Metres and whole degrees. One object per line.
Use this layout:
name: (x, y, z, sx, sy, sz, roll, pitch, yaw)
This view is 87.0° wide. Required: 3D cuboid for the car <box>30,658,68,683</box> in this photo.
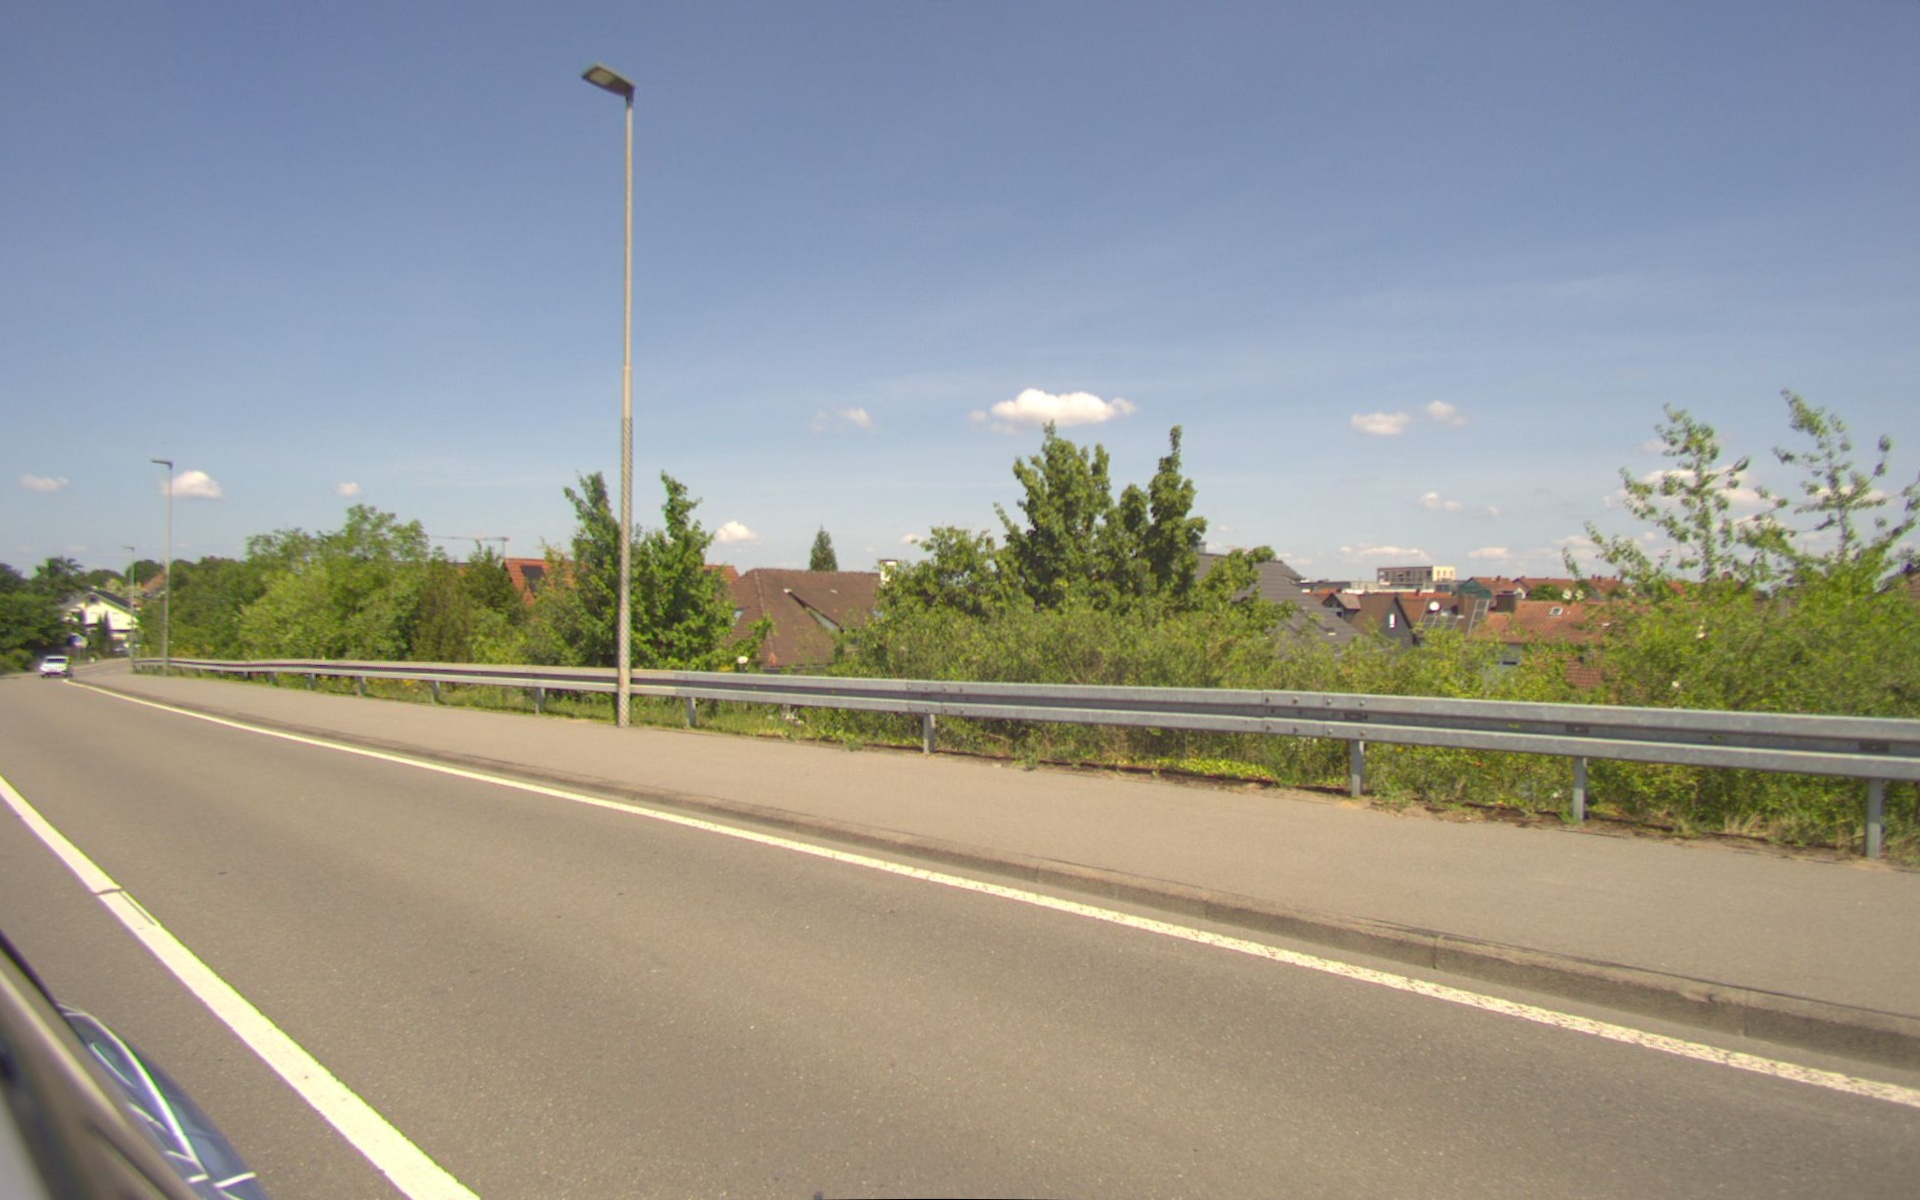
car: (-80.445, 6.209, 89.331, 4.282, 1.774, 2.065, 1, 2, 42)
